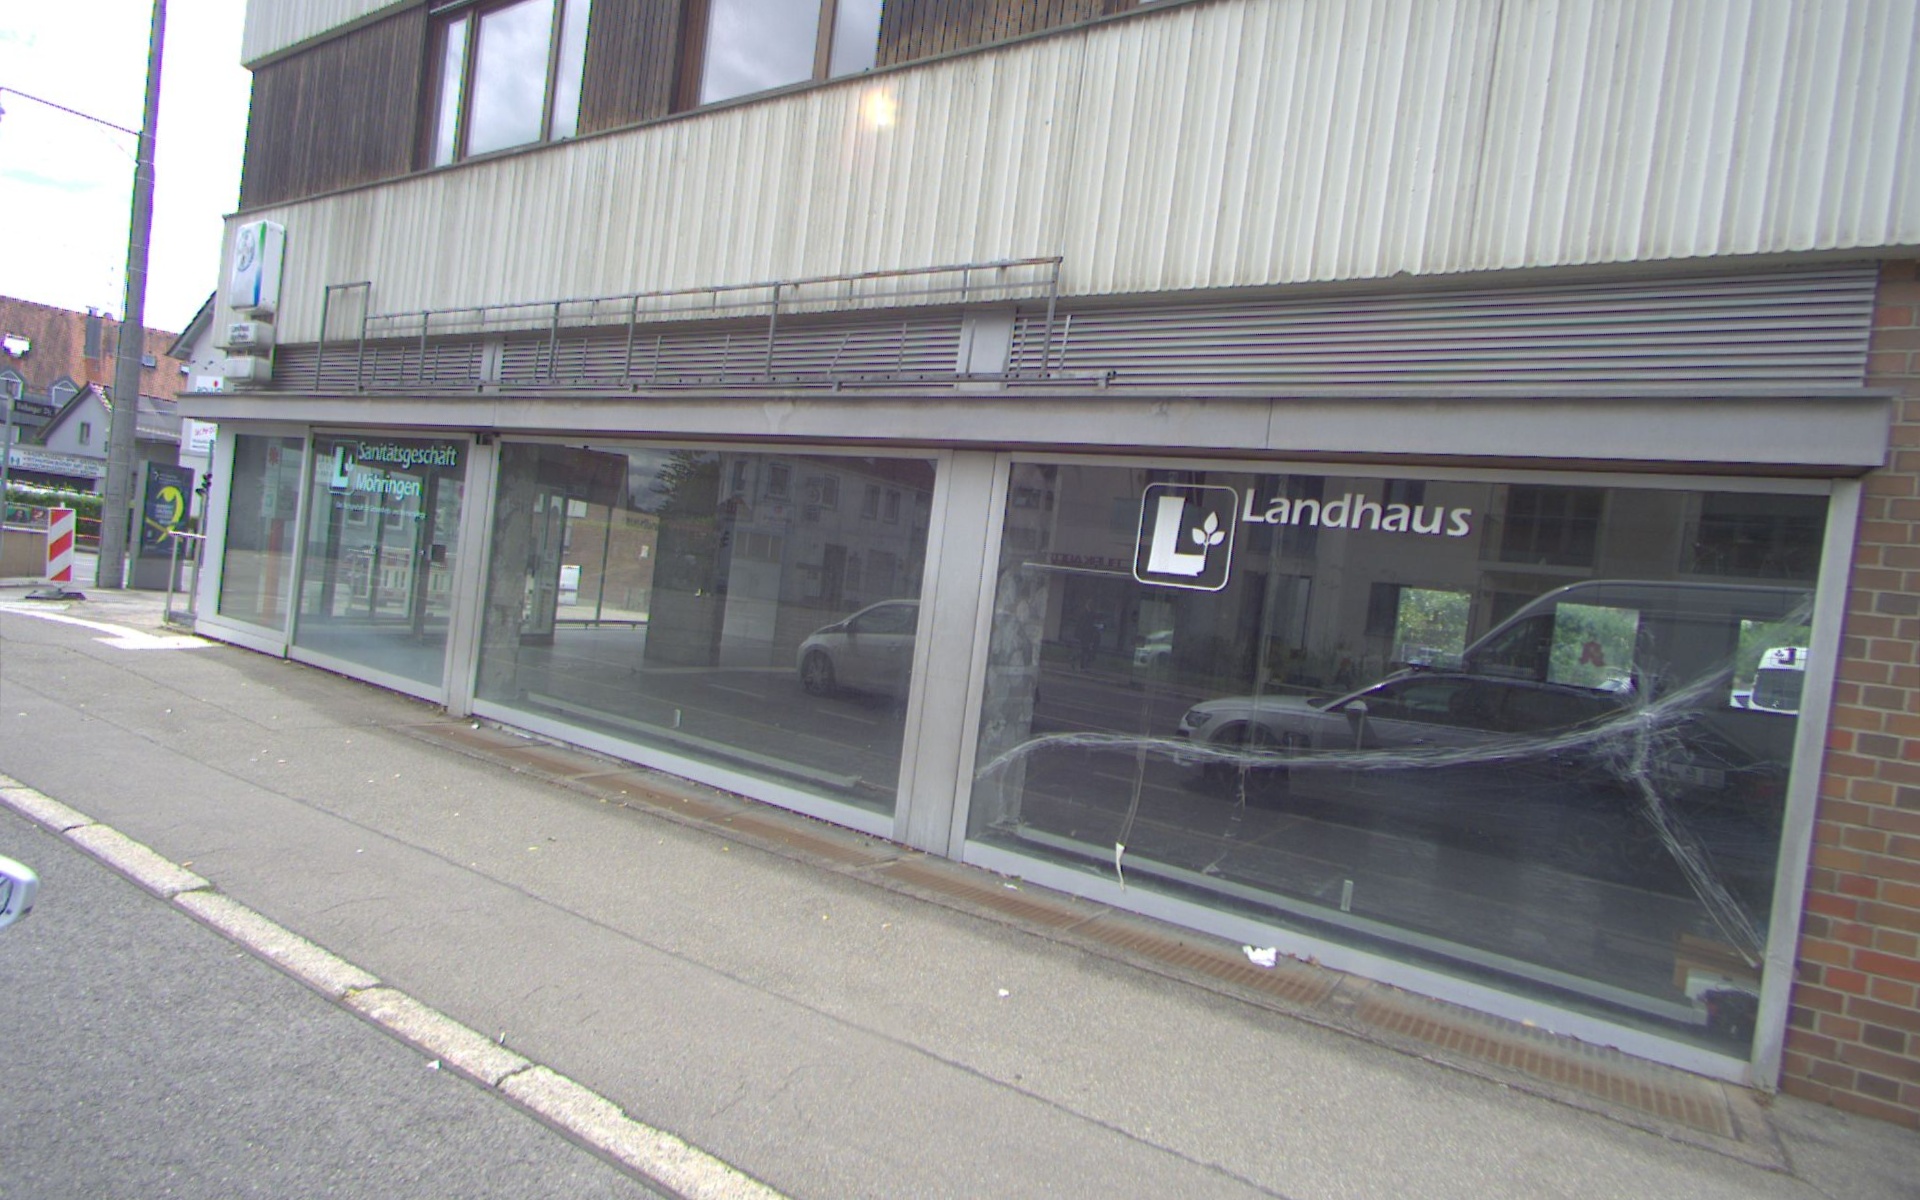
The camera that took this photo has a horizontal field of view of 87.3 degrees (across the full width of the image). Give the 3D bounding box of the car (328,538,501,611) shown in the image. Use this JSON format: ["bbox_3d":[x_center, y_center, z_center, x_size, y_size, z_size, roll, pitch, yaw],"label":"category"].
[{"bbox_3d":[-17.394,-0.754,32.333,1.964,1.764,4.511,9,1,23],"label":"car"}]

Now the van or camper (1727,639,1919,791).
[{"bbox_3d":[18.988,2.422,20.053,5.409,2.574,2.058,7,1,4],"label":"van or camper"}]
